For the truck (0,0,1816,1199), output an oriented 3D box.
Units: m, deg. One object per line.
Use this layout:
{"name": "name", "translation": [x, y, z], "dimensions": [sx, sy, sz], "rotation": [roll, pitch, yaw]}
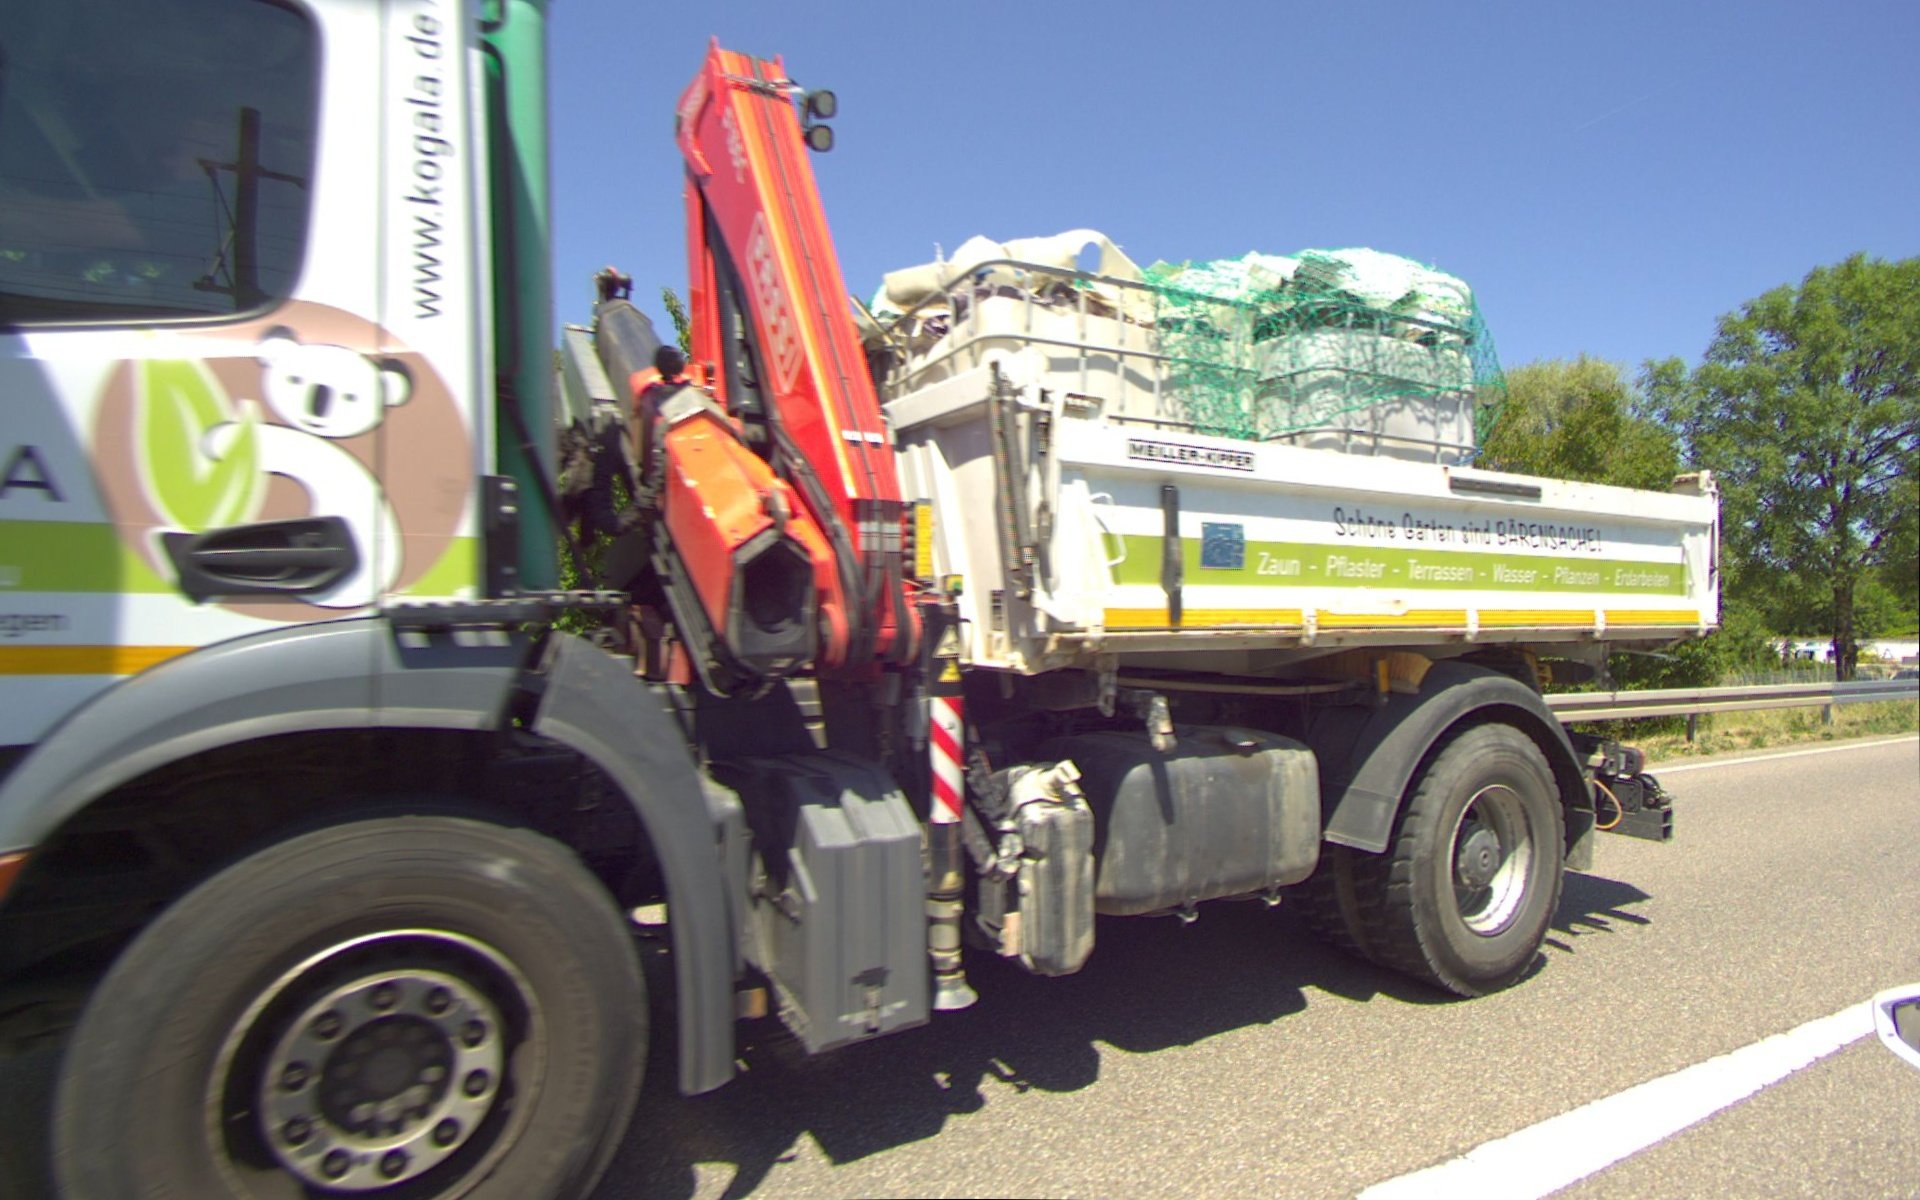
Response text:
{"name": "truck", "translation": [0.299, -0.309, 4.354], "dimensions": [7.896, 3.450, 2.770], "rotation": [1, 0, -31]}
